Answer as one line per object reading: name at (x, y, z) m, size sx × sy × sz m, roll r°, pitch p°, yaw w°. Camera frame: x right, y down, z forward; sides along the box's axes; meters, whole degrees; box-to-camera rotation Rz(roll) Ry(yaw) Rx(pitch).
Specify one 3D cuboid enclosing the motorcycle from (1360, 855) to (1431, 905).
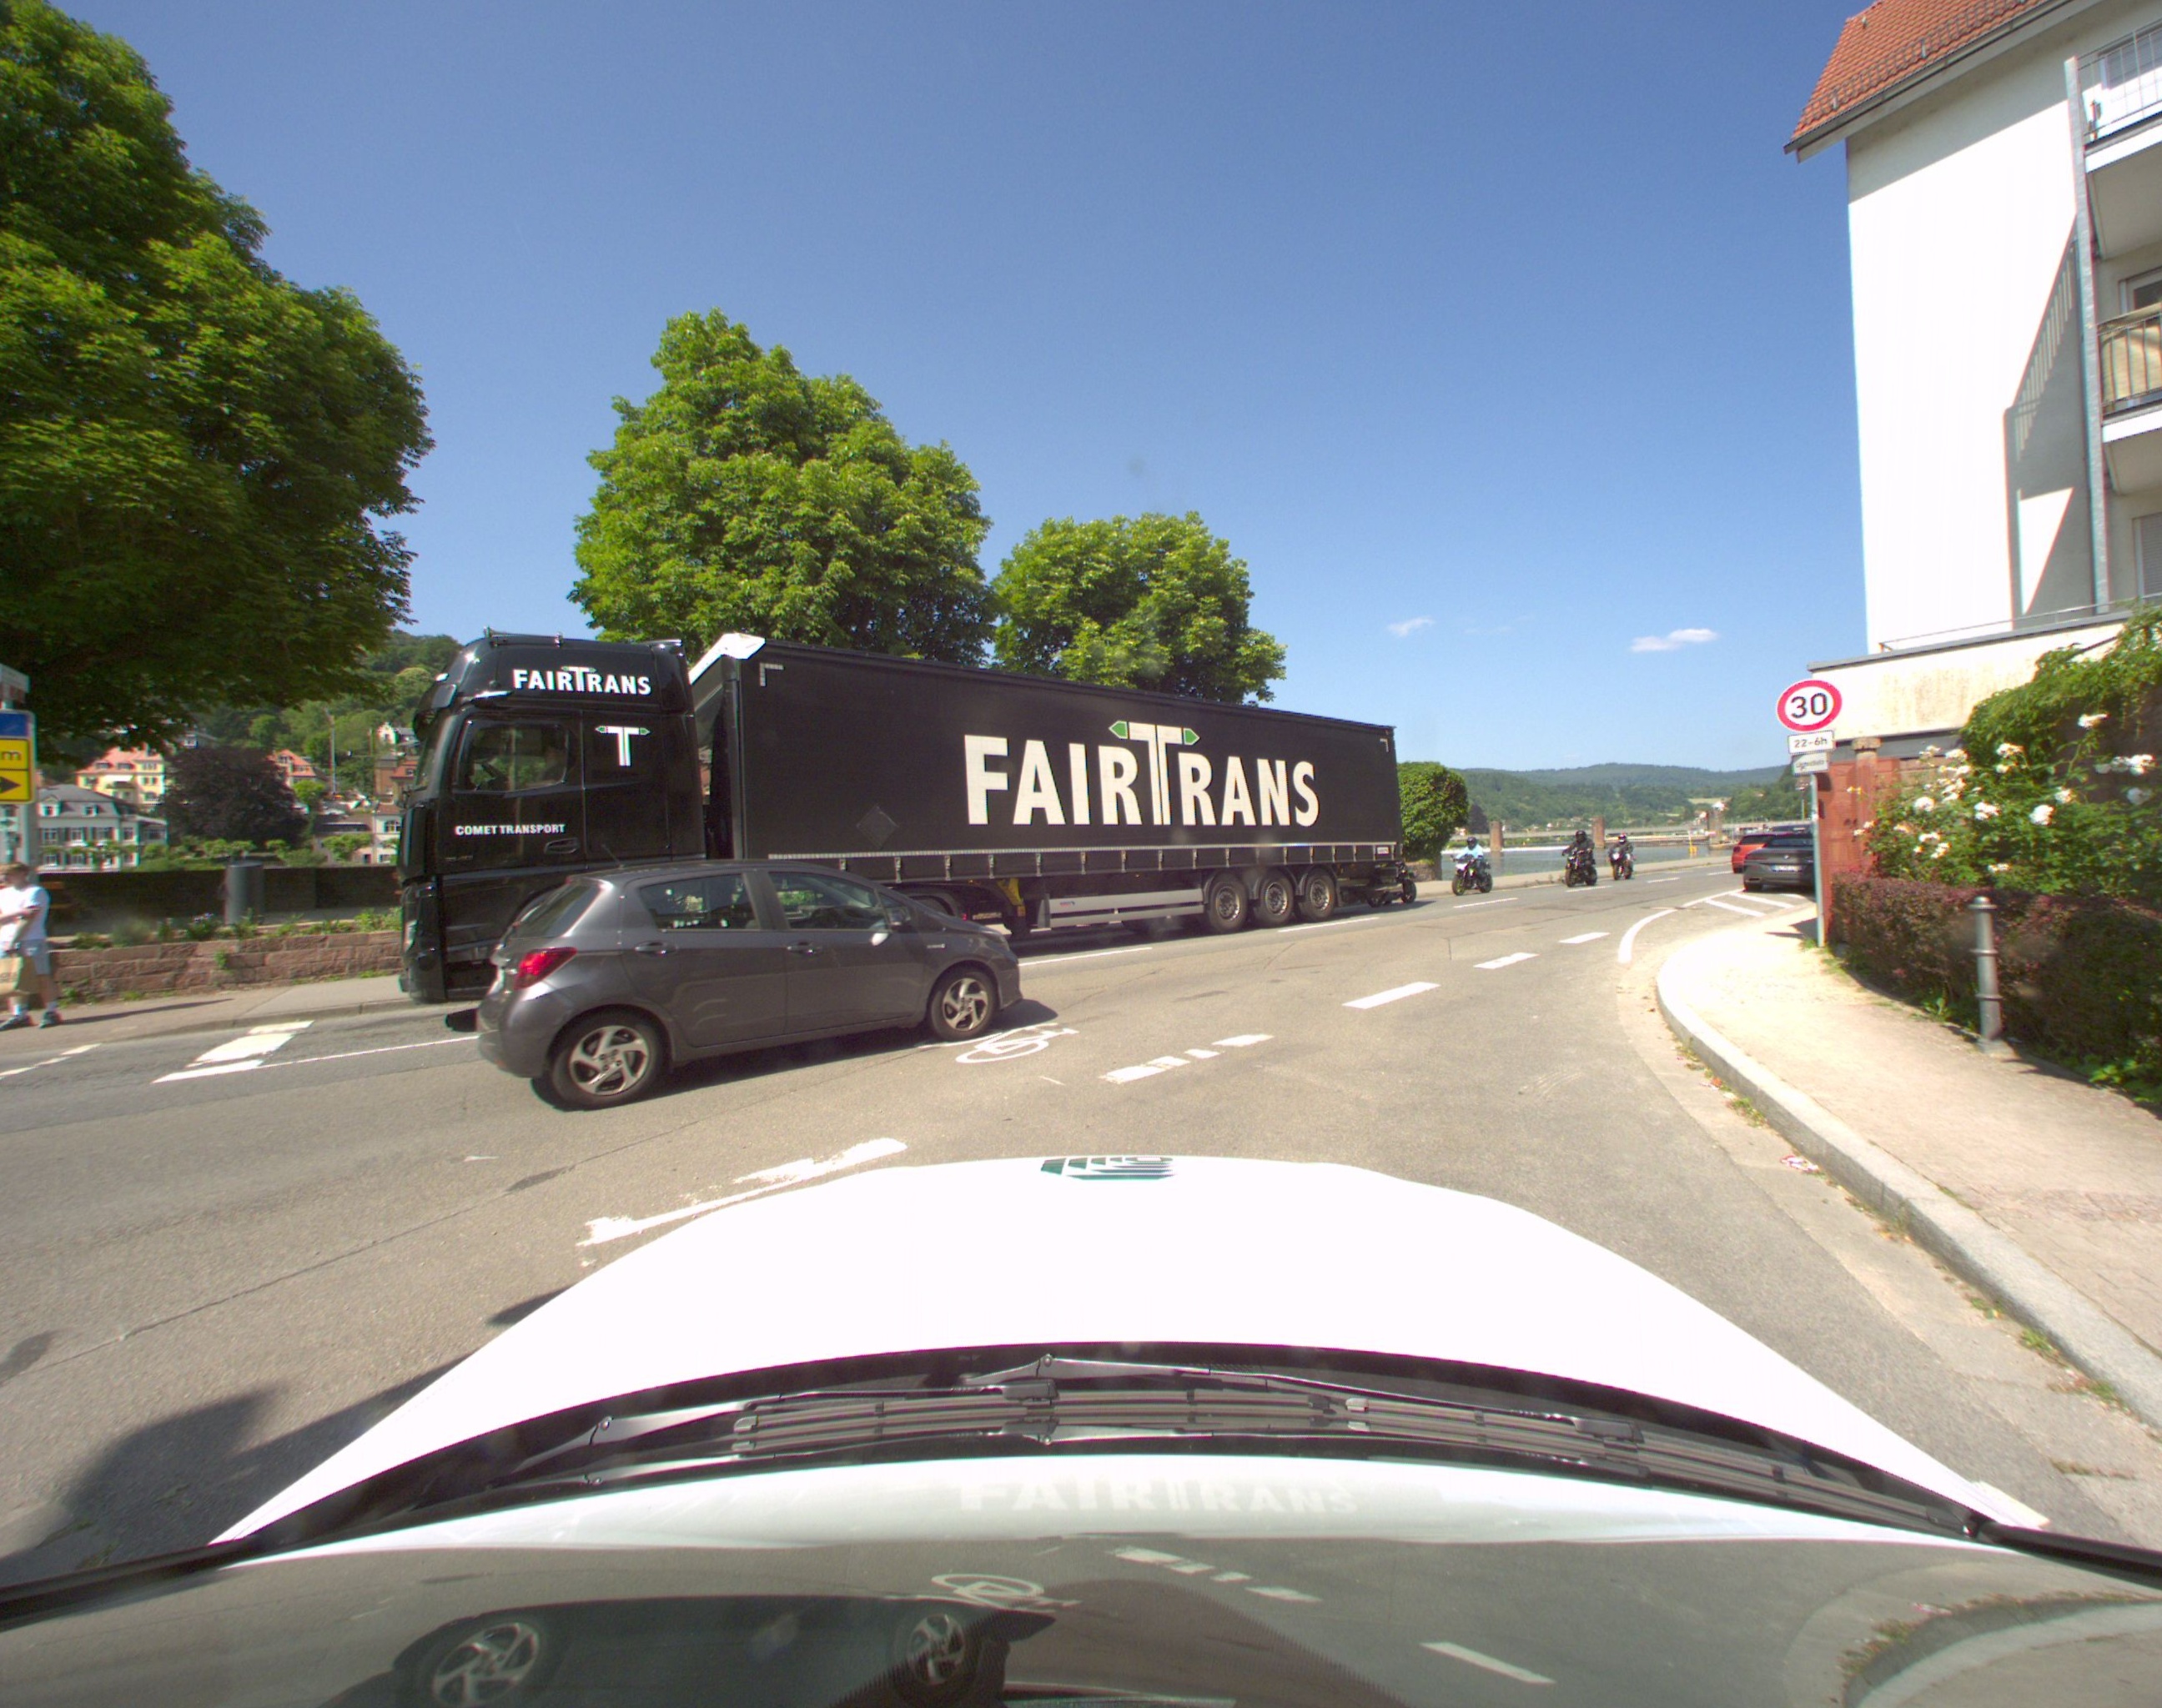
motorcycle at (7.903, 0.633, 20.438) m, size 2.103 × 1.123 × 0.628 m, roll -2°, pitch -3°, yaw -39°

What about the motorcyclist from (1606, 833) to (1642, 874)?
motorcyclist at (18.803, -0.011, 28.200) m, size 0.941 × 1.366 × 0.711 m, roll -2°, pitch -1°, yaw -39°

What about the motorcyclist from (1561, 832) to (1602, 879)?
motorcyclist at (15.039, 0.045, 24.470) m, size 0.804 × 1.366 × 0.780 m, roll -2°, pitch -1°, yaw -39°

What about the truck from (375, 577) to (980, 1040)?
truck at (-4.645, -0.422, 10.091) m, size 5.961 × 4.071 × 2.807 m, roll -2°, pitch -2°, yaw -38°

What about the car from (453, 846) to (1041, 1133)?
car at (-2.403, 0.757, 6.381) m, size 3.901 × 1.498 × 1.707 m, roll -2°, pitch -1°, yaw -40°

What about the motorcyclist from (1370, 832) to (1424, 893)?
motorcyclist at (7.921, 0.205, 20.413) m, size 0.996 × 1.460 × 0.772 m, roll -2°, pitch -2°, yaw -39°

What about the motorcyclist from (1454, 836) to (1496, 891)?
motorcyclist at (11.417, 0.263, 23.595) m, size 0.996 × 1.525 × 0.657 m, roll -2°, pitch -2°, yaw -40°

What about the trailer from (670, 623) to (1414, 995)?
trailer at (0.727, -0.633, 14.346) m, size 13.839 × 4.104 × 2.810 m, roll -2°, pitch -2°, yaw -38°

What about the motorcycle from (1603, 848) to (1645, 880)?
motorcycle at (18.818, 0.341, 28.218) m, size 1.824 × 1.024 × 0.651 m, roll -2°, pitch -1°, yaw -39°

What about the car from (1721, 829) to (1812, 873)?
car at (24.416, -0.130, 28.981) m, size 4.038 × 1.405 × 1.710 m, roll -2°, pitch -1°, yaw -39°

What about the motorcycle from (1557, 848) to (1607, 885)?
motorcycle at (15.011, 0.376, 24.393) m, size 1.824 × 1.024 × 0.651 m, roll -2°, pitch -1°, yaw -39°

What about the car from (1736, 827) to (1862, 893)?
car at (17.023, 0.101, 19.247) m, size 3.759 × 1.399 × 1.673 m, roll -2°, pitch 0°, yaw -40°

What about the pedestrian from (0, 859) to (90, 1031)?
pedestrian at (-11.491, 0.968, 8.911) m, size 0.709 × 1.802 × 0.573 m, roll -2°, pitch -1°, yaw -40°

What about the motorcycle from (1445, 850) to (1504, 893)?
motorcycle at (11.402, 0.503, 23.574) m, size 2.103 × 1.123 × 0.628 m, roll -2°, pitch -3°, yaw -39°
